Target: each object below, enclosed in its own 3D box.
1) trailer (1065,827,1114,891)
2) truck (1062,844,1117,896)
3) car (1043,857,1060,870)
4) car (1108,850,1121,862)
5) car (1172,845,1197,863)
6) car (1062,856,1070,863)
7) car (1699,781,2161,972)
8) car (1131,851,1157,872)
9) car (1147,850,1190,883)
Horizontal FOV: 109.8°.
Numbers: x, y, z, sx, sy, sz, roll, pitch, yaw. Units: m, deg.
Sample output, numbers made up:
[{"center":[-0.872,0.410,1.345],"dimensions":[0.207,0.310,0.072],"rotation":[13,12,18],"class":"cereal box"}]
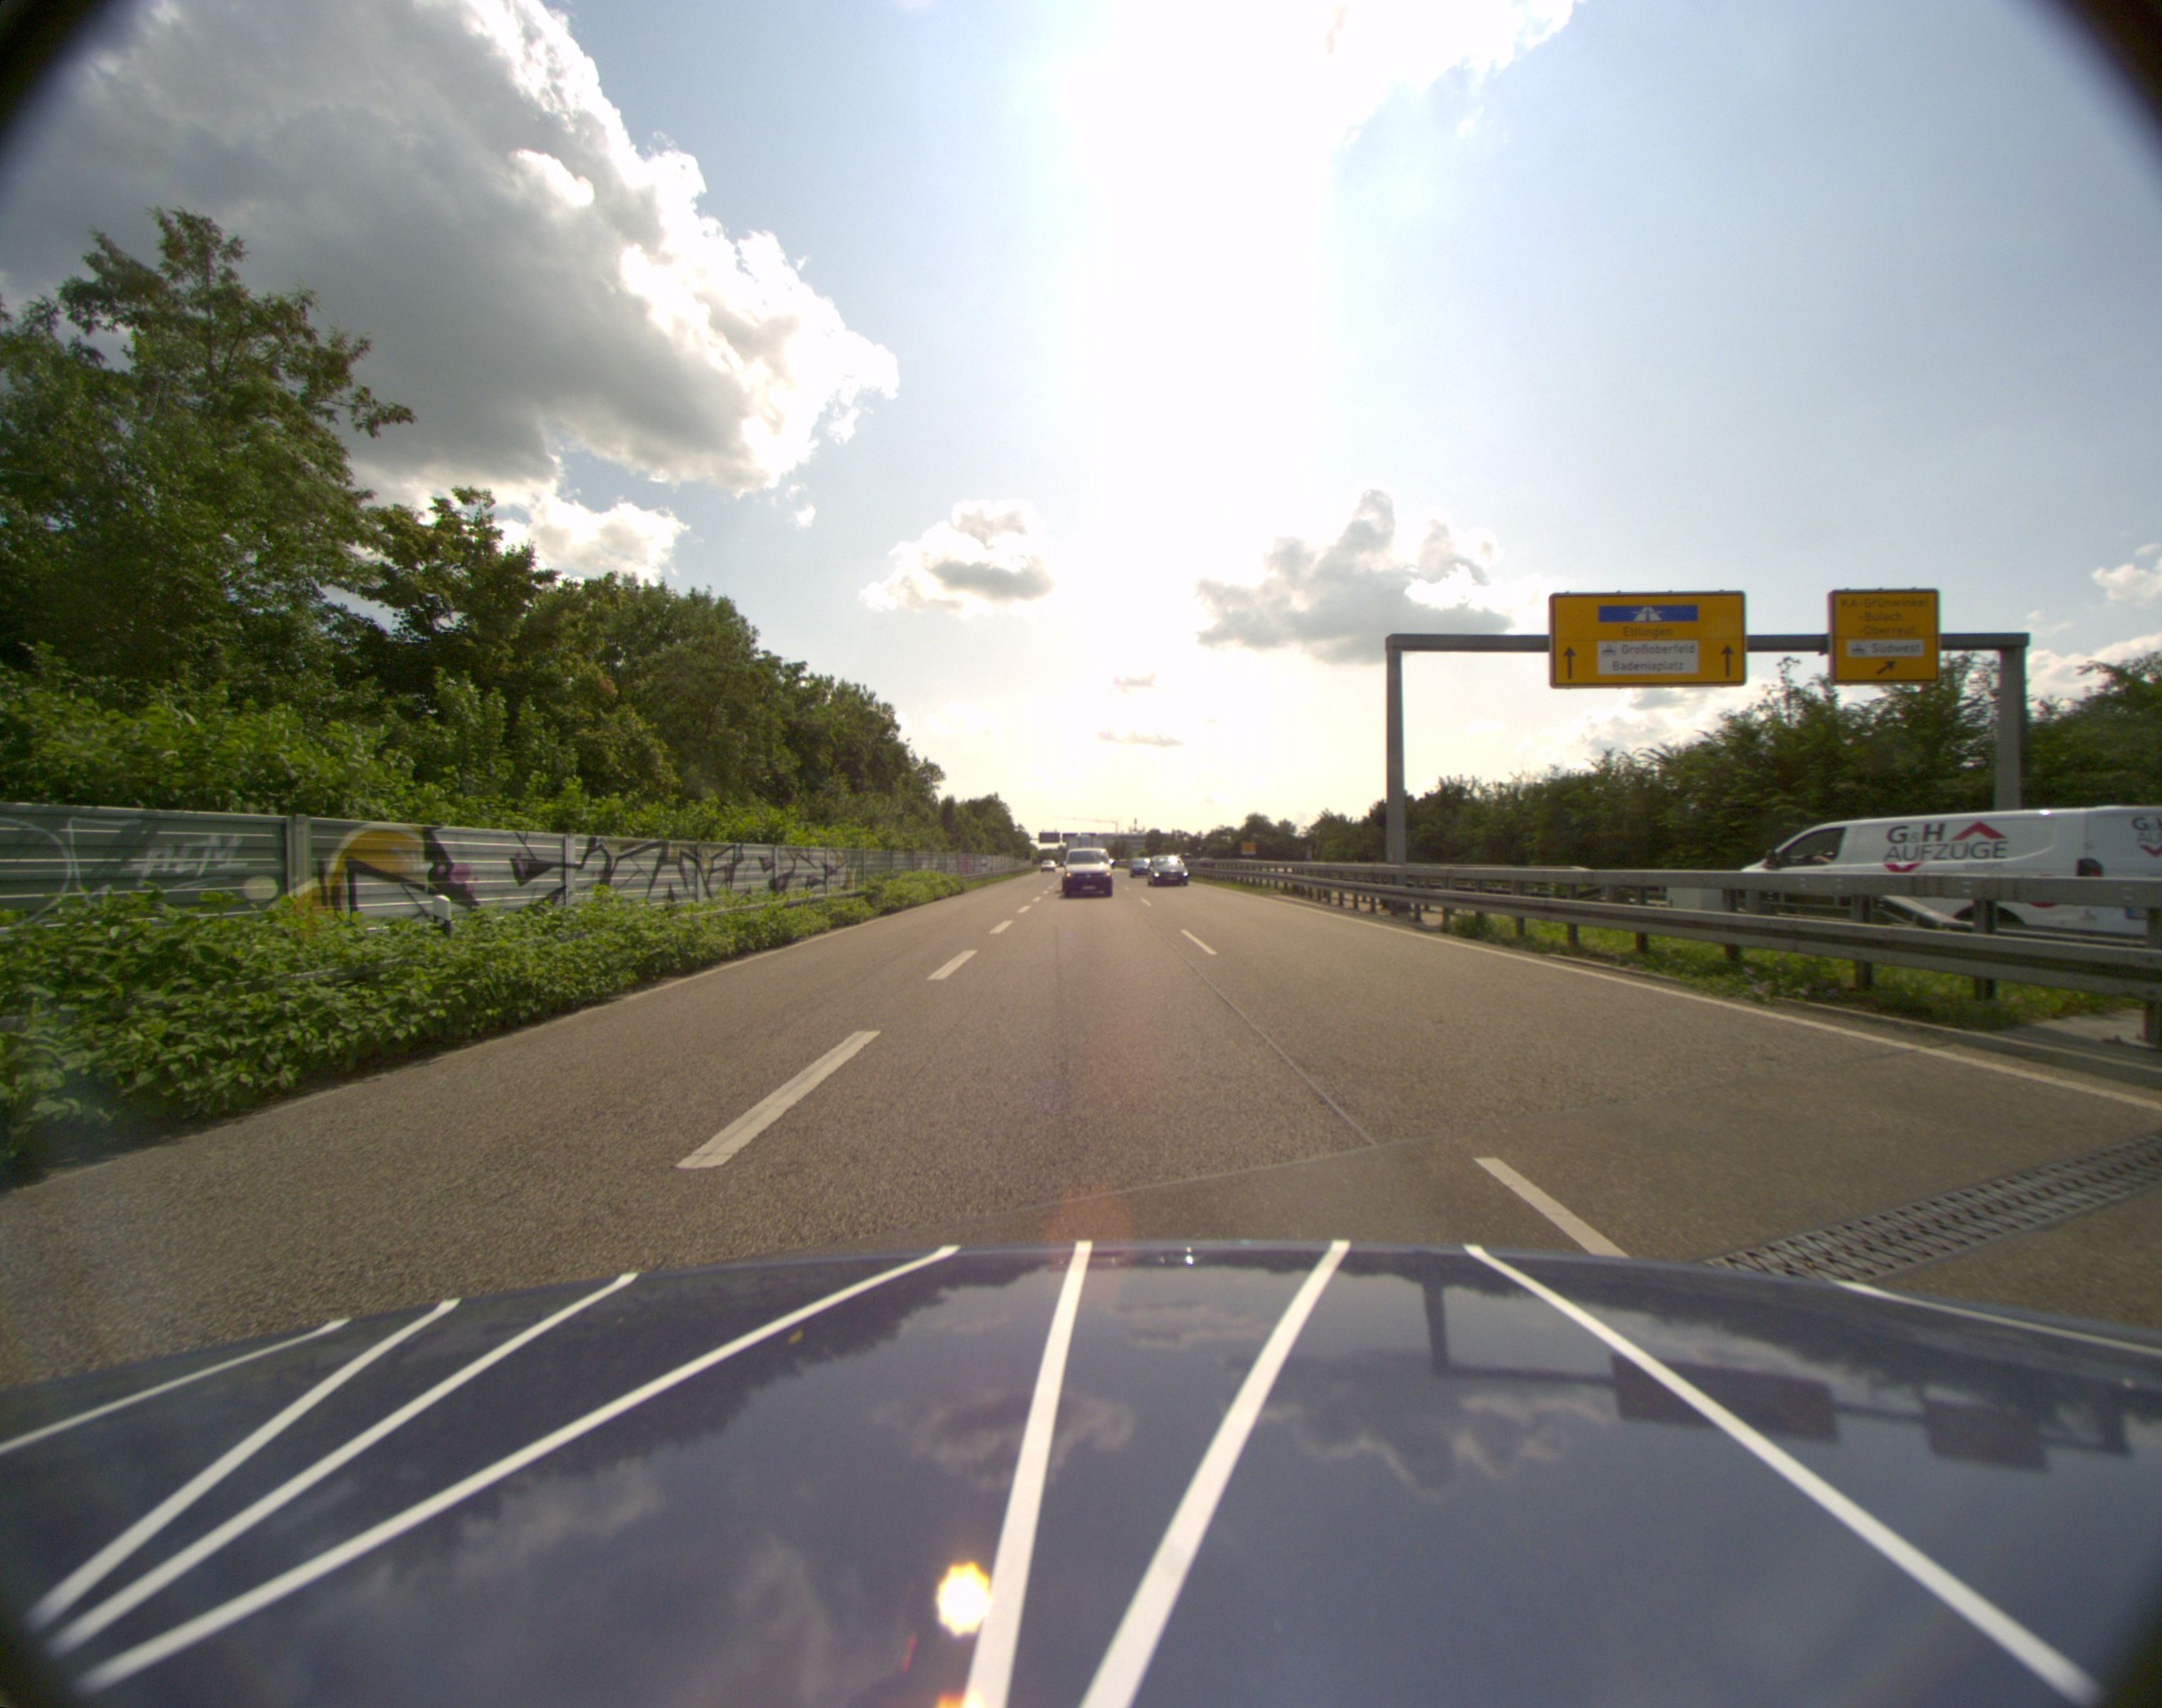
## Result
[{"center":[0.394,0.179,35.828],"dimensions":[1.998,2.723,5.966],"rotation":[-2,1,0],"class":"trailer"},{"center":[0.349,0.604,30.773],"dimensions":[2.008,1.905,4.000],"rotation":[-1,0,1],"class":"truck"},{"center":[-3.678,1.196,94.933],"dimensions":[1.768,1.403,3.771],"rotation":[-2,1,1],"class":"car"},{"center":[4.832,0.245,109.629],"dimensions":[1.779,1.518,4.464],"rotation":[-2,1,1],"class":"car"},{"center":[11.205,-0.028,82.538],"dimensions":[1.998,1.853,5.392],"rotation":[-2,1,0],"class":"car"},{"center":[-3.705,1.350,188.819],"dimensions":[1.768,1.403,3.771],"rotation":[-2,1,1],"class":"car"},{"center":[11.817,0.229,10.545],"dimensions":[2.085,1.977,5.228],"rotation":[2,1,-1],"class":"car"},{"center":[4.649,0.528,56.666],"dimensions":[1.625,1.403,3.771],"rotation":[-2,1,1],"class":"car"},{"center":[4.496,0.602,39.592],"dimensions":[1.716,1.518,4.592],"rotation":[-2,1,1],"class":"car"}]
